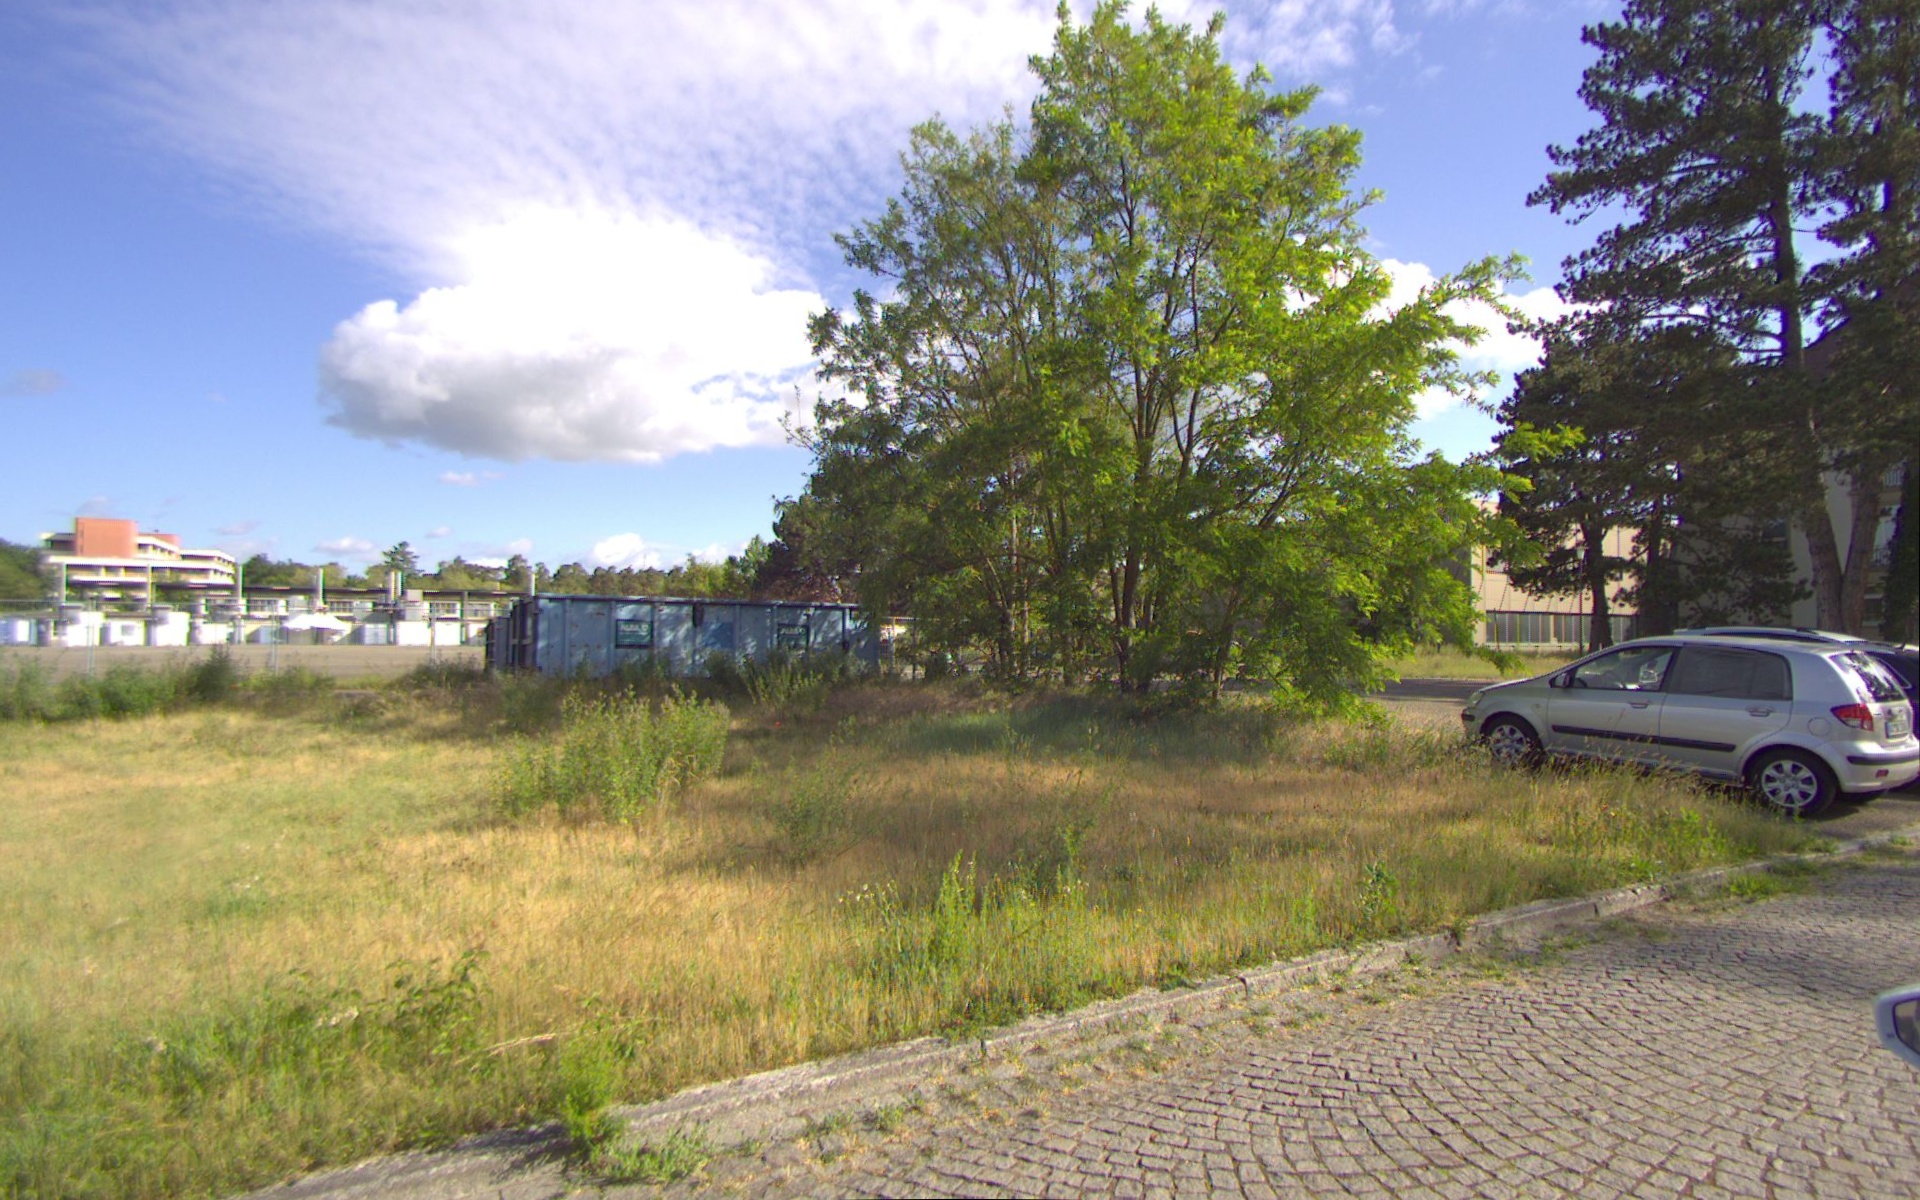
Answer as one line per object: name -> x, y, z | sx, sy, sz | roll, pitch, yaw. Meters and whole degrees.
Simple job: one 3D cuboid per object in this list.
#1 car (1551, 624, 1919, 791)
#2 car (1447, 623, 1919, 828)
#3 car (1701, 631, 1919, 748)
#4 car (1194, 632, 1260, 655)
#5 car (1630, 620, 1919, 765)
car -> 9.273, 1.094, 11.493 | 1.783, 1.500, 3.965 | 1, 0, -32
car -> 7.088, 1.044, 10.007 | 1.628, 1.507, 3.725 | 1, 0, -32
car -> 13.640, 1.282, 14.561 | 1.810, 1.488, 4.309 | 1, 0, -32
car -> 17.479, 2.837, 65.728 | 3.952, 1.452, 1.894 | 2, -2, -29
car -> 11.592, 1.145, 13.349 | 1.864, 1.614, 4.057 | 1, 0, -32
